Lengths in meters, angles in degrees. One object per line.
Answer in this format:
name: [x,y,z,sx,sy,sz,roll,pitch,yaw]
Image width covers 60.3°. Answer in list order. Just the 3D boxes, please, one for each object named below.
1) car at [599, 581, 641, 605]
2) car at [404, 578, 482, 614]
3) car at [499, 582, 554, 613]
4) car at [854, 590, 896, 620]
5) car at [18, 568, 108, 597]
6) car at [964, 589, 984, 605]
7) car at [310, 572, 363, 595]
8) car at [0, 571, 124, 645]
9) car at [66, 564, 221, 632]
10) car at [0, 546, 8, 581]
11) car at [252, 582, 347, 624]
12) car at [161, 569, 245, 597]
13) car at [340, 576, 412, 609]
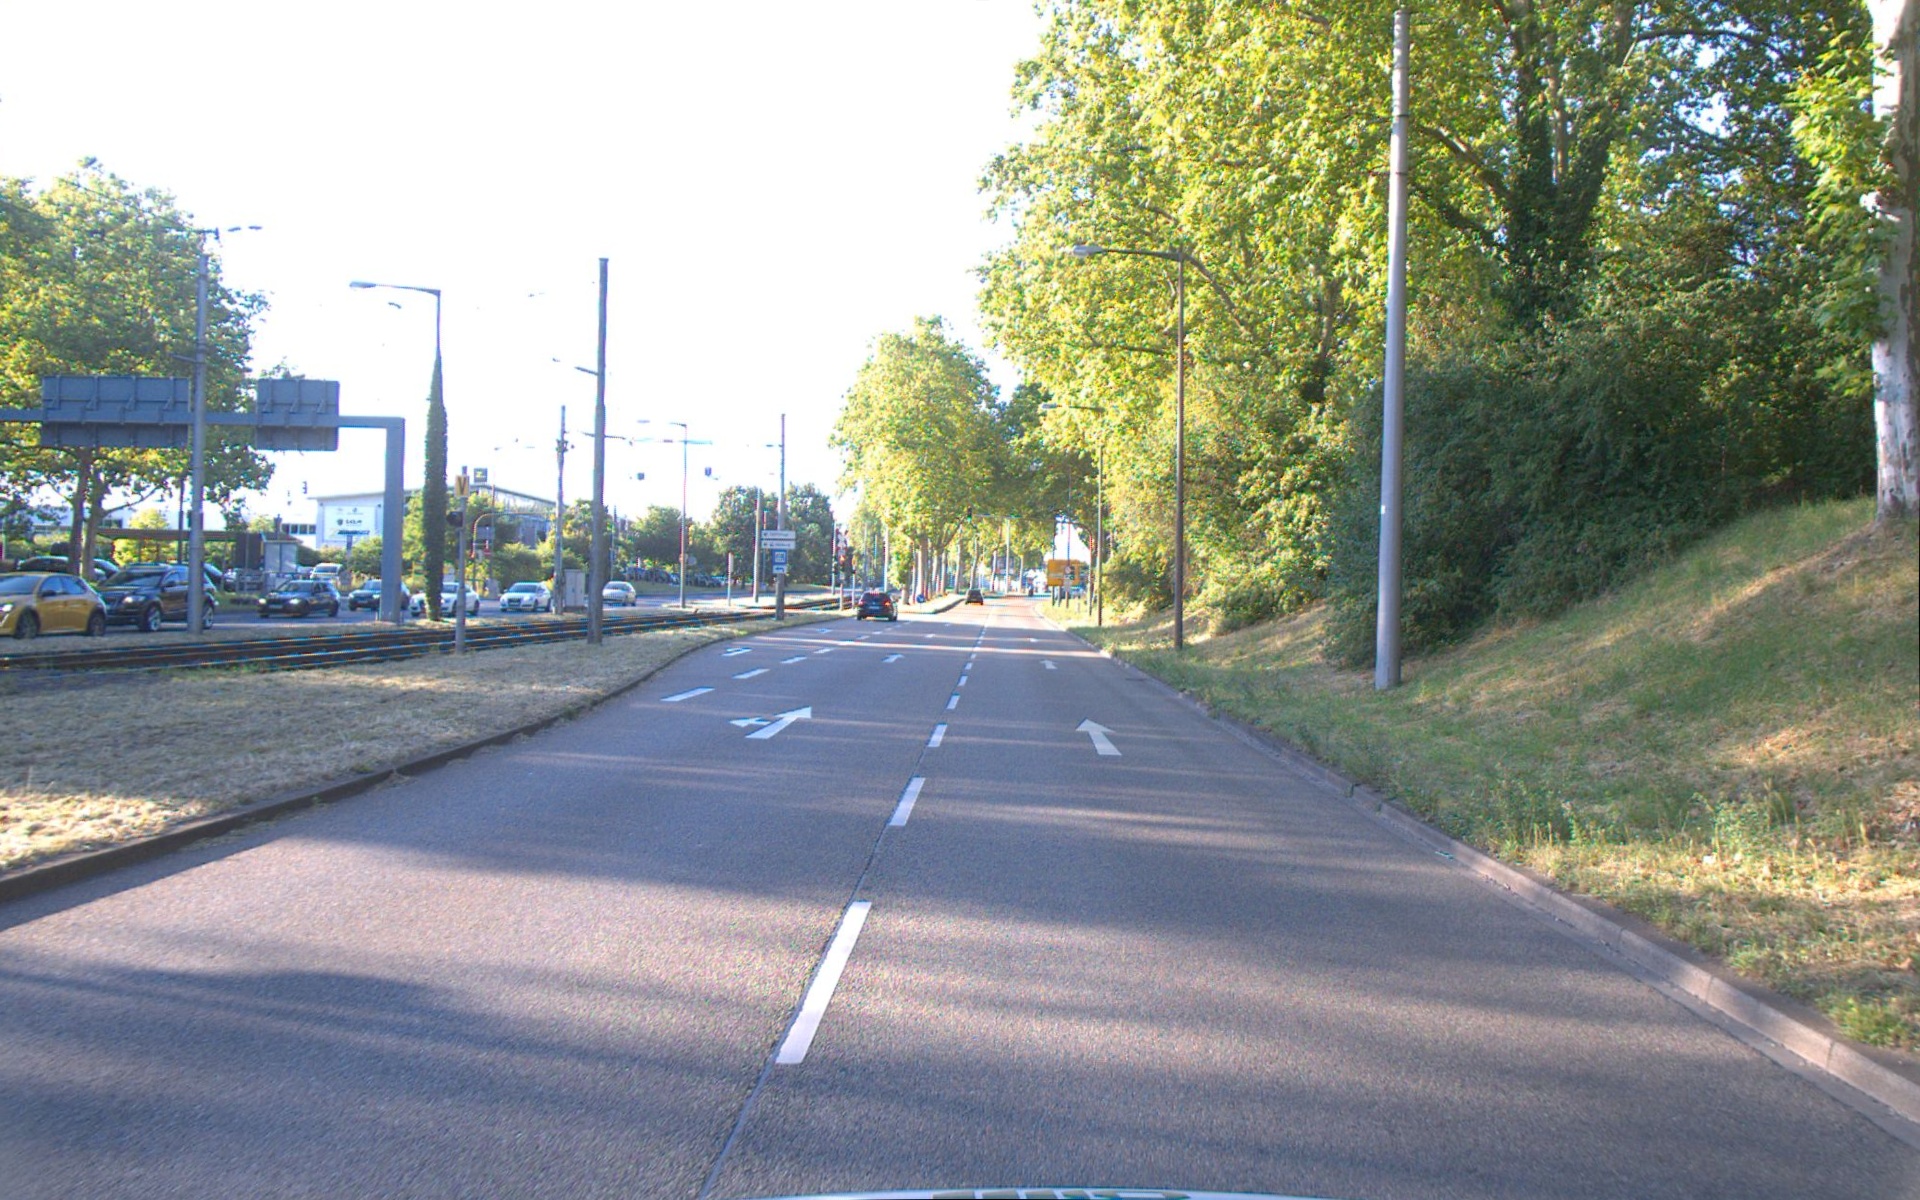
car: [-21.140,-0.431,103.014,1.619,1.440,4.259,2,0,1]
car: [-21.808,-0.152,69.960,1.801,1.440,4.600,1,0,0]
car: [-21.973,-0.136,83.976,1.619,1.440,4.258,2,0,0]
car: [-4.185,0.248,81.917,1.755,1.427,3.690,1,0,2]
car: [-49.633,-0.974,91.566,3.971,1.411,1.785,2,0,3]
car: [1.358,-0.286,157.764,1.755,1.427,3.690,2,0,2]
car: [-41.939,-1.101,111.360,1.802,1.467,4.002,2,0,4]
car: [-19.276,0.150,34.155,1.800,1.440,4.020,1,0,3]
car: [-22.044,-0.048,44.882,1.800,1.683,4.437,2,0,2]
car: [-55.301,-2.091,91.629,3.903,1.892,2.001,2,0,4]
car: [-25.739,0.108,64.594,1.800,1.507,4.436,2,0,1]
car: [-43.352,-0.962,94.729,3.969,1.411,1.785,2,0,8]
car: [-28.542,-0.351,80.993,1.800,1.507,4.600,2,0,1]
